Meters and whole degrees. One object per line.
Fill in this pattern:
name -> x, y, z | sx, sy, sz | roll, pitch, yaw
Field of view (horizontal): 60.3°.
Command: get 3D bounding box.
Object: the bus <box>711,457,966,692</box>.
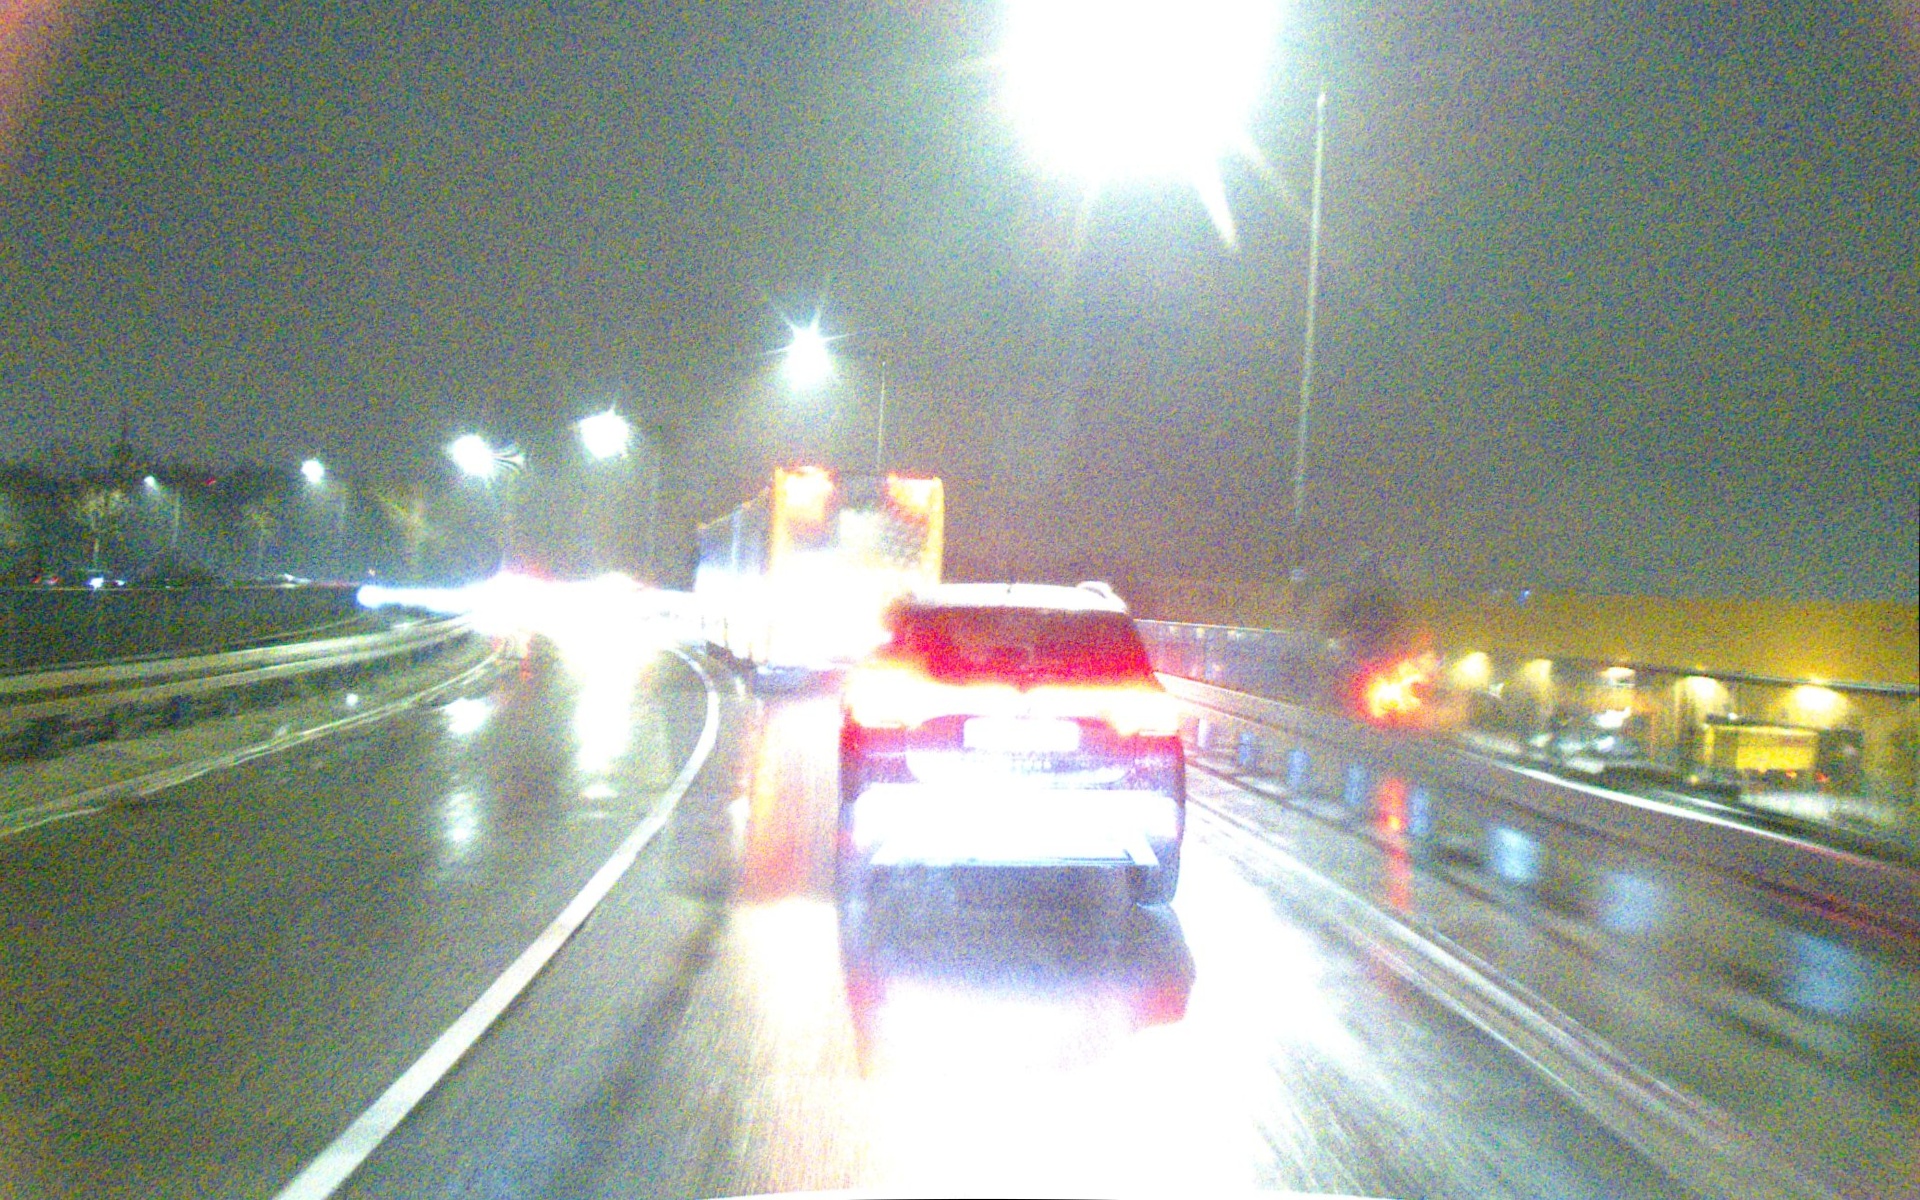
bus -> -2.589, -0.410, 29.020 | 3.028, 3.187, 12.663 | 0, 1, -11

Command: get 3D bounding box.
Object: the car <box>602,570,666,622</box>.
car -> -11.681, -0.101, 59.117 | 1.613, 1.685, 3.685 | 1, -3, -21

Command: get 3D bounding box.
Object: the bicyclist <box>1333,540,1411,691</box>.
bicyclist -> 3.856, 0.141, 15.519 | 0.444, 1.373, 0.763 | 2, 0, -6

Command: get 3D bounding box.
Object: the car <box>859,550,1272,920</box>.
car -> 0.378, 0.611, 9.342 | 1.819, 1.614, 3.998 | 1, 0, -3

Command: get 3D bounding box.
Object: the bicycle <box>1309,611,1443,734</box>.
bicycle -> 3.857, 0.639, 15.511 | 0.475, 1.052, 2.169 | 1, 0, -6

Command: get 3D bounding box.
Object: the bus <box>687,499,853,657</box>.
bus -> -4.682, -0.447, 39.213 | 2.995, 3.186, 8.053 | 4, -1, -12
